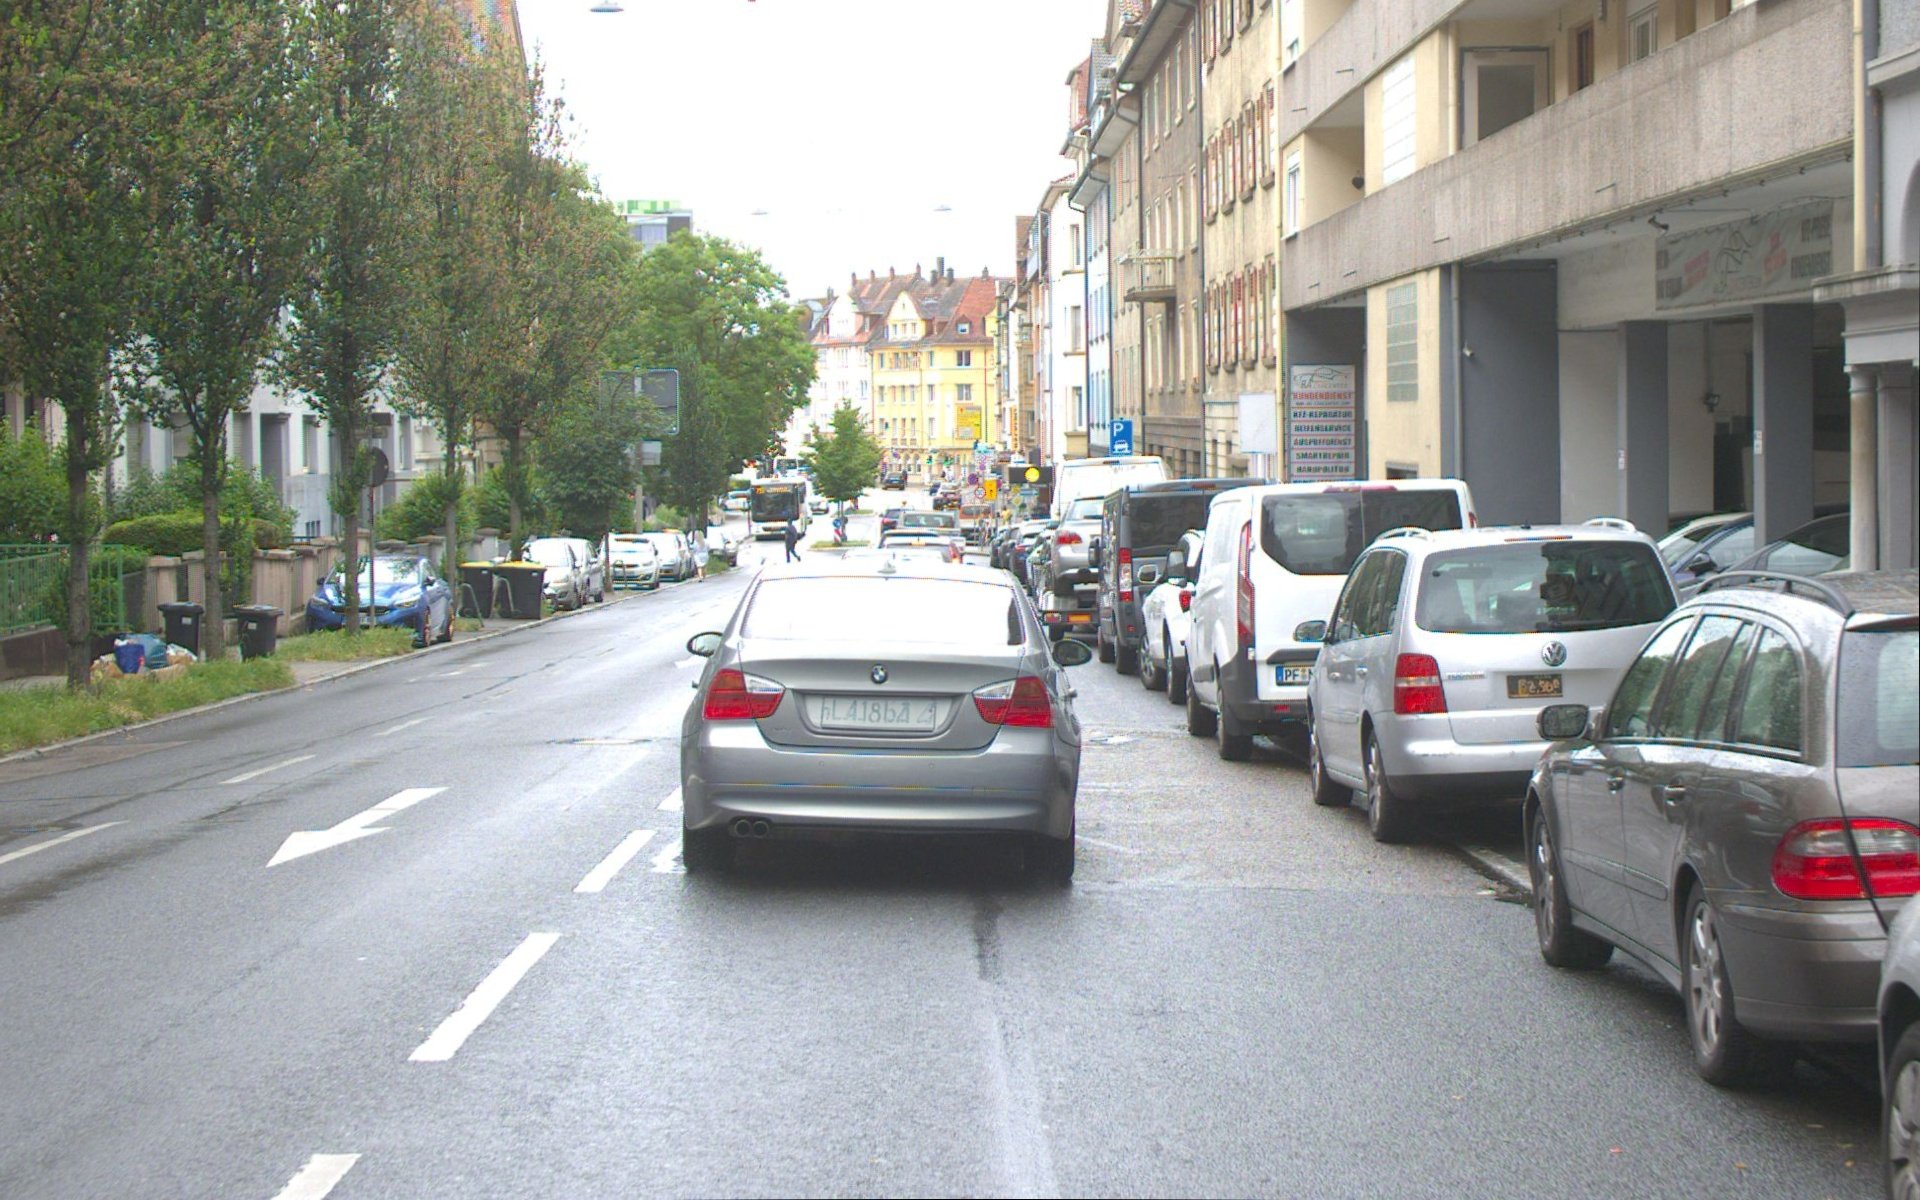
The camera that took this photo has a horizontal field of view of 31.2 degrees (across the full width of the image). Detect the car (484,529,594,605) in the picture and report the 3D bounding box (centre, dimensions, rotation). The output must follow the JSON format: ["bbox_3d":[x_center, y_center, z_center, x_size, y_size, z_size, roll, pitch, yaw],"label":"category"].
[{"bbox_3d":[-9.056,-0.735,74.236,1.827,1.518,3.736,-2,1,1],"label":"car"}]

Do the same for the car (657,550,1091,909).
[{"bbox_3d":[-0.339,0.506,16.069,1.769,1.423,3.741,1,1,1],"label":"car"}]

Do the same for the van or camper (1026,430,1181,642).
[{"bbox_3d":[2.184,-0.971,51.322,2.033,2.859,6.885,2,1,3],"label":"van or camper"}]

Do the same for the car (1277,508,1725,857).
[{"bbox_3d":[2.892,0.367,19.267,1.726,1.664,4.289,-3,1,-1],"label":"car"}]

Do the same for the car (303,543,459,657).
[{"bbox_3d":[-8.848,-0.026,52.813,1.766,1.588,4.001,-2,1,-2],"label":"car"}]

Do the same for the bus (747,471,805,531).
[{"bbox_3d":[-9.714,-5.217,181.856,2.668,3.014,7.671,-2,1,-1],"label":"bus"}]

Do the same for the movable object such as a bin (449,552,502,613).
[{"bbox_3d":[-9.398,-0.337,66.673,0.902,1.164,0.895,0,1,0],"label":"movable object such as a bin"}]

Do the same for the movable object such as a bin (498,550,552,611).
[{"bbox_3d":[-8.439,-0.388,66.683,0.935,1.164,0.909,0,1,0],"label":"movable object such as a bin"}]

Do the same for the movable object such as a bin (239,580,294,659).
[{"bbox_3d":[-8.177,0.227,40.511,0.574,0.909,0.640,-2,1,-14],"label":"movable object such as a bin"}]

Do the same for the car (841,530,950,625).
[{"bbox_3d":[-1.055,-0.383,56.176,1.697,1.478,3.794,1,1,-1],"label":"car"}]

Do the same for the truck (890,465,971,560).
[{"bbox_3d":[-0.803,-2.287,91.082,2.032,2.404,4.827,1,1,-1],"label":"truck"}]

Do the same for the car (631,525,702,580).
[{"bbox_3d":[-8.727,-1.427,102.457,1.691,1.518,3.736,-2,1,1],"label":"car"}]

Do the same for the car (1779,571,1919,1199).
[{"bbox_3d":[2.746,0.718,6.004,1.611,1.469,4.016,1,1,-1],"label":"car"}]

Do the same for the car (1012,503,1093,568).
[{"bbox_3d":[2.161,-1.515,81.104,1.697,1.478,3.976,1,1,-1],"label":"car"}]

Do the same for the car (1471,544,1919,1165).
[{"bbox_3d":[2.997,0.612,11.208,1.900,1.473,4.799,-3,1,0],"label":"car"}]

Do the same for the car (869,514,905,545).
[{"bbox_3d":[-3.639,-3.488,170.723,1.697,1.478,3.794,-2,1,-1],"label":"car"}]

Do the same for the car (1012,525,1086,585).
[{"bbox_3d":[2.293,-1.171,89.318,1.697,1.478,3.976,1,1,-1],"label":"car"}]

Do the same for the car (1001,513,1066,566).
[{"bbox_3d":[2.102,-1.728,99.149,1.697,1.478,3.976,1,1,-1],"label":"car"}]

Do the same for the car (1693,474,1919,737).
[{"bbox_3d":[7.574,0.004,24.750,4.329,1.798,2.005,0,3,17],"label":"car"}]

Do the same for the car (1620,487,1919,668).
[{"bbox_3d":[8.463,-0.233,32.597,4.289,1.635,1.666,0,3,12],"label":"car"}]

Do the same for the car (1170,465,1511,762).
[{"bbox_3d":[2.771,0.049,26.074,1.982,2.000,4.625,-2,1,-1],"label":"car"}]

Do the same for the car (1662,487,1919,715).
[{"bbox_3d":[7.799,-0.022,27.303,4.327,1.720,1.908,0,3,12],"label":"car"}]

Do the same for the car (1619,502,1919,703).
[{"bbox_3d":[7.865,-0.003,29.513,4.289,1.635,1.666,0,3,12],"label":"car"}]

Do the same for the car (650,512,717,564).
[{"bbox_3d":[-8.585,-1.945,106.973,1.691,1.518,3.736,-2,1,1],"label":"car"}]

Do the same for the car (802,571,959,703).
[{"bbox_3d":[-0.884,0.396,40.142,1.682,1.423,3.741,1,1,1],"label":"car"}]

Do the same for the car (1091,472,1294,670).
[{"bbox_3d":[2.685,-0.370,40.720,1.982,2.158,4.750,-2,1,-1],"label":"car"}]

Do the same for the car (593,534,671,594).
[{"bbox_3d":[-9.005,-1.000,94.567,1.691,1.518,3.736,-2,1,1],"label":"car"}]

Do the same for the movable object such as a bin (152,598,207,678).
[{"bbox_3d":[-9.165,0.441,40.358,0.574,0.909,0.640,-2,1,-14],"label":"movable object such as a bin"}]

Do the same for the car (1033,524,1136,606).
[{"bbox_3d":[2.330,-0.674,65.292,1.697,1.478,3.976,1,1,-1],"label":"car"}]

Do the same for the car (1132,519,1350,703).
[{"bbox_3d":[2.717,0.057,34.050,1.726,1.664,4.289,-2,1,-1],"label":"car"}]
